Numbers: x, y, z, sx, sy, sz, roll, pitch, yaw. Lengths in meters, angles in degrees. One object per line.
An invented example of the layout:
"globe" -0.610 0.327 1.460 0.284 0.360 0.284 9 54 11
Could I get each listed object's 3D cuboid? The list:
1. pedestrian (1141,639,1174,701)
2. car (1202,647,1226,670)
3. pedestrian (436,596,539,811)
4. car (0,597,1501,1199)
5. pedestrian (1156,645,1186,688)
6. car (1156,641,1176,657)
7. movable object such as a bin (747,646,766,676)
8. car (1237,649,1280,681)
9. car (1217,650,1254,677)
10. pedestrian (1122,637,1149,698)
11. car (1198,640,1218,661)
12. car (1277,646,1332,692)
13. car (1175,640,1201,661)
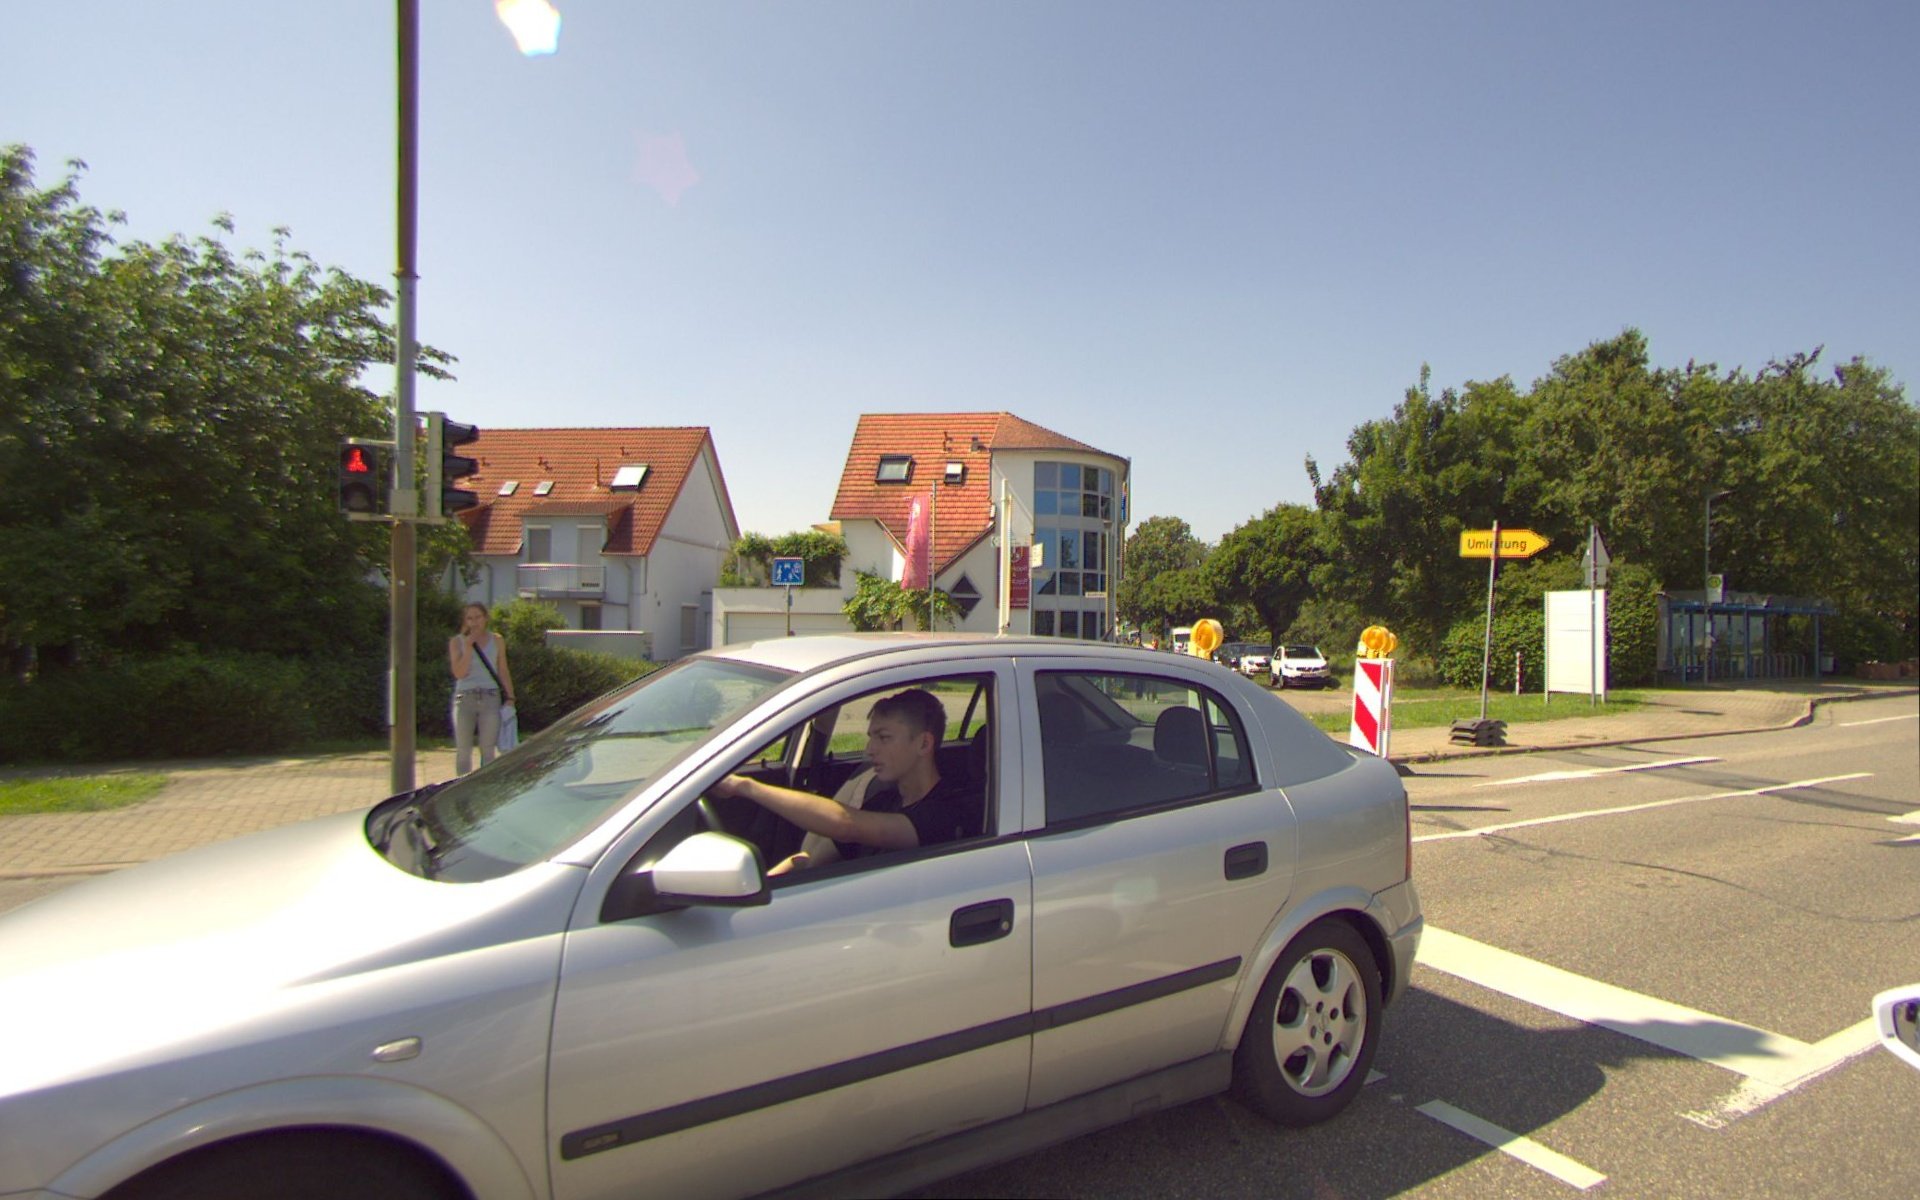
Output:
"pedestrian" 5.829 2.053 29.681 0.799 1.763 0.960 1 -1 1
"car" 14.633 3.336 57.945 1.203 1.244 2.944 0 -2 11
"pedestrian" -3.827 0.799 8.122 0.680 1.629 0.611 1 2 -29
"car" -0.342 0.764 2.927 3.936 1.422 1.690 2 -2 -32
"pedestrian" 7.820 2.458 37.237 0.906 1.587 0.790 0 -1 -2
"car" 19.683 4.675 96.077 1.659 1.512 3.503 0 -2 8
"movable object such as a bin" -7.329 2.198 36.130 0.558 1.076 0.396 2 -2 -37
"car" 13.920 3.009 46.990 1.649 1.366 3.383 0 -2 12
"car" 14.106 3.236 51.531 1.423 1.220 3.562 0 -2 8
"pedestrian" 5.392 2.064 30.919 0.695 1.846 0.805 1 -1 1
"car" 16.423 3.338 66.533 1.276 1.259 2.955 0 -1 14
"car" 13.147 2.586 38.449 1.770 1.589 3.584 0 -2 15
"car" 17.459 3.881 77.017 1.659 1.512 3.503 1 -1 8
